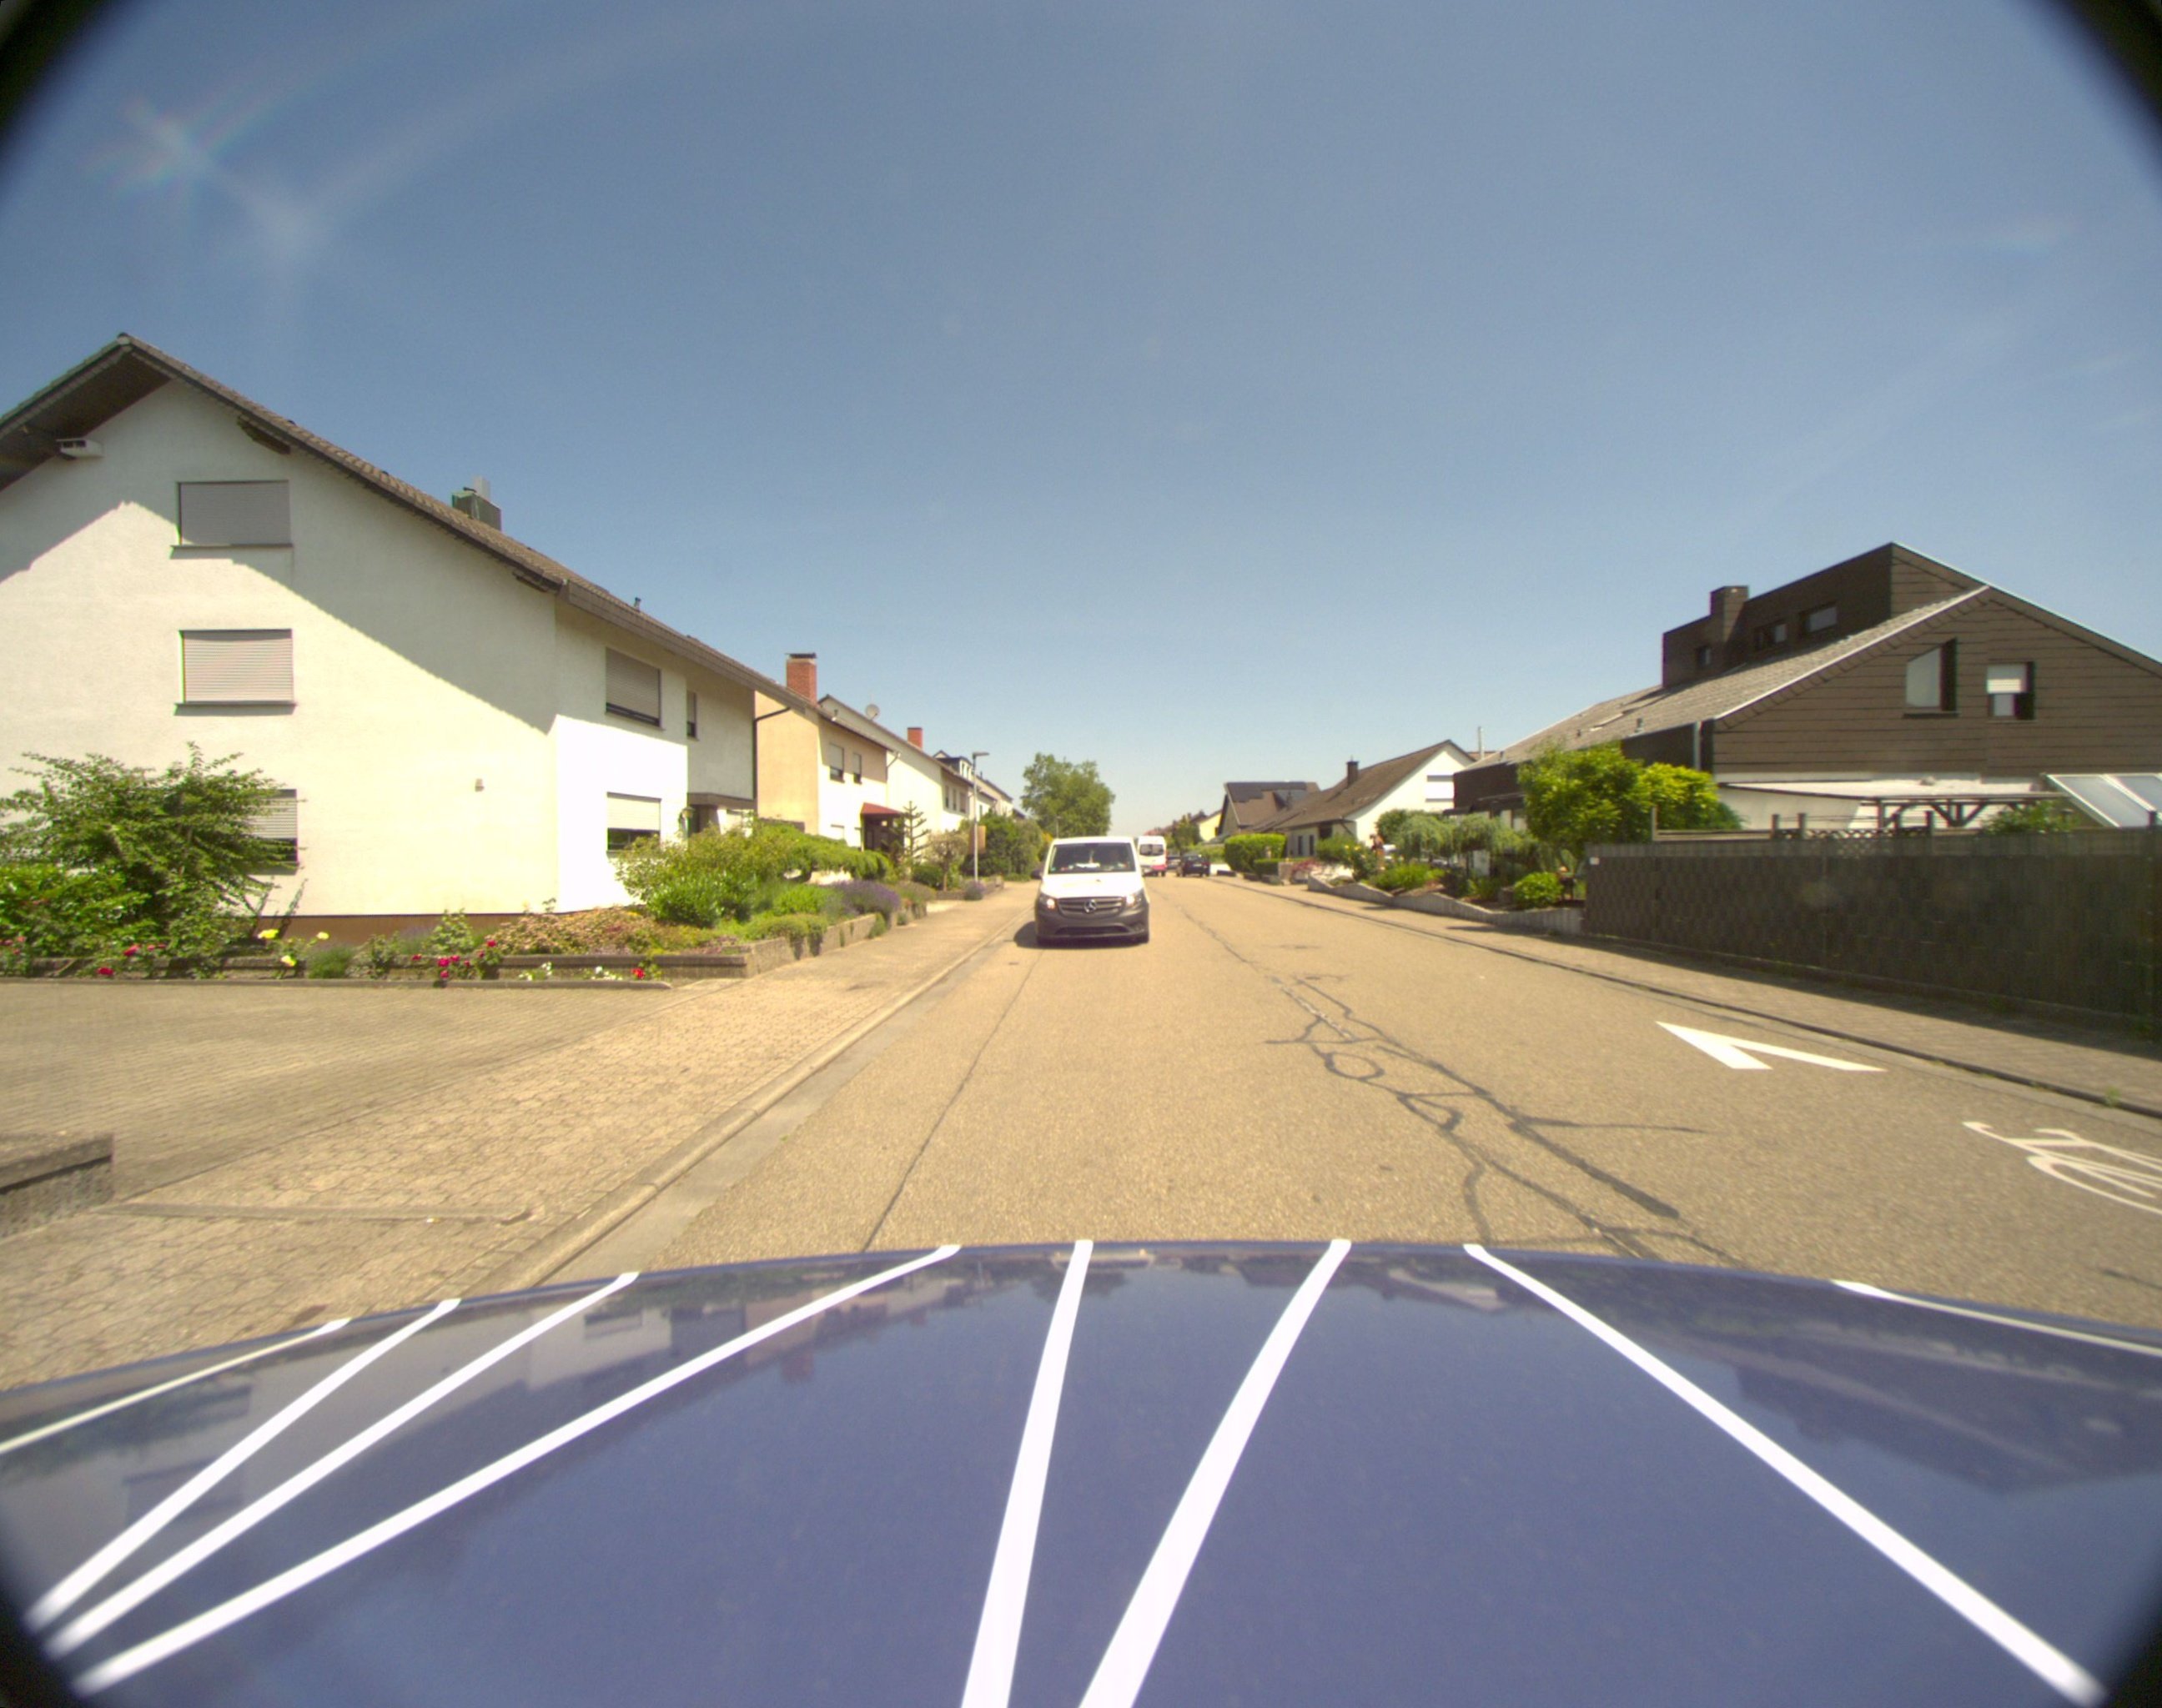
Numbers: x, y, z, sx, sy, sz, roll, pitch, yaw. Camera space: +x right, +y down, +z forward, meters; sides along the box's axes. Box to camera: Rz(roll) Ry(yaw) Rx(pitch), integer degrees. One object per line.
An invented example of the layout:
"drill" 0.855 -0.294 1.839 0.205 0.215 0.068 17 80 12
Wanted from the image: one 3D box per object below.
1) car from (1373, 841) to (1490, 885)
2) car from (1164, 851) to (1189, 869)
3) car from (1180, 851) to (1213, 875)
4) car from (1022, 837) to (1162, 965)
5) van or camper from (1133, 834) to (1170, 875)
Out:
"car" 14.473 0.360 31.522 3.997 1.674 1.902 -1 1 0
"car" 8.178 0.521 65.337 1.998 1.390 4.001 -1 1 5
"car" 7.405 0.559 49.035 1.807 1.390 4.001 -1 1 5
"car" 0.226 0.637 13.661 2.018 1.846 5.067 -1 1 1
"van or camper" 4.624 -0.004 50.193 2.069 2.577 4.603 -1 1 1
